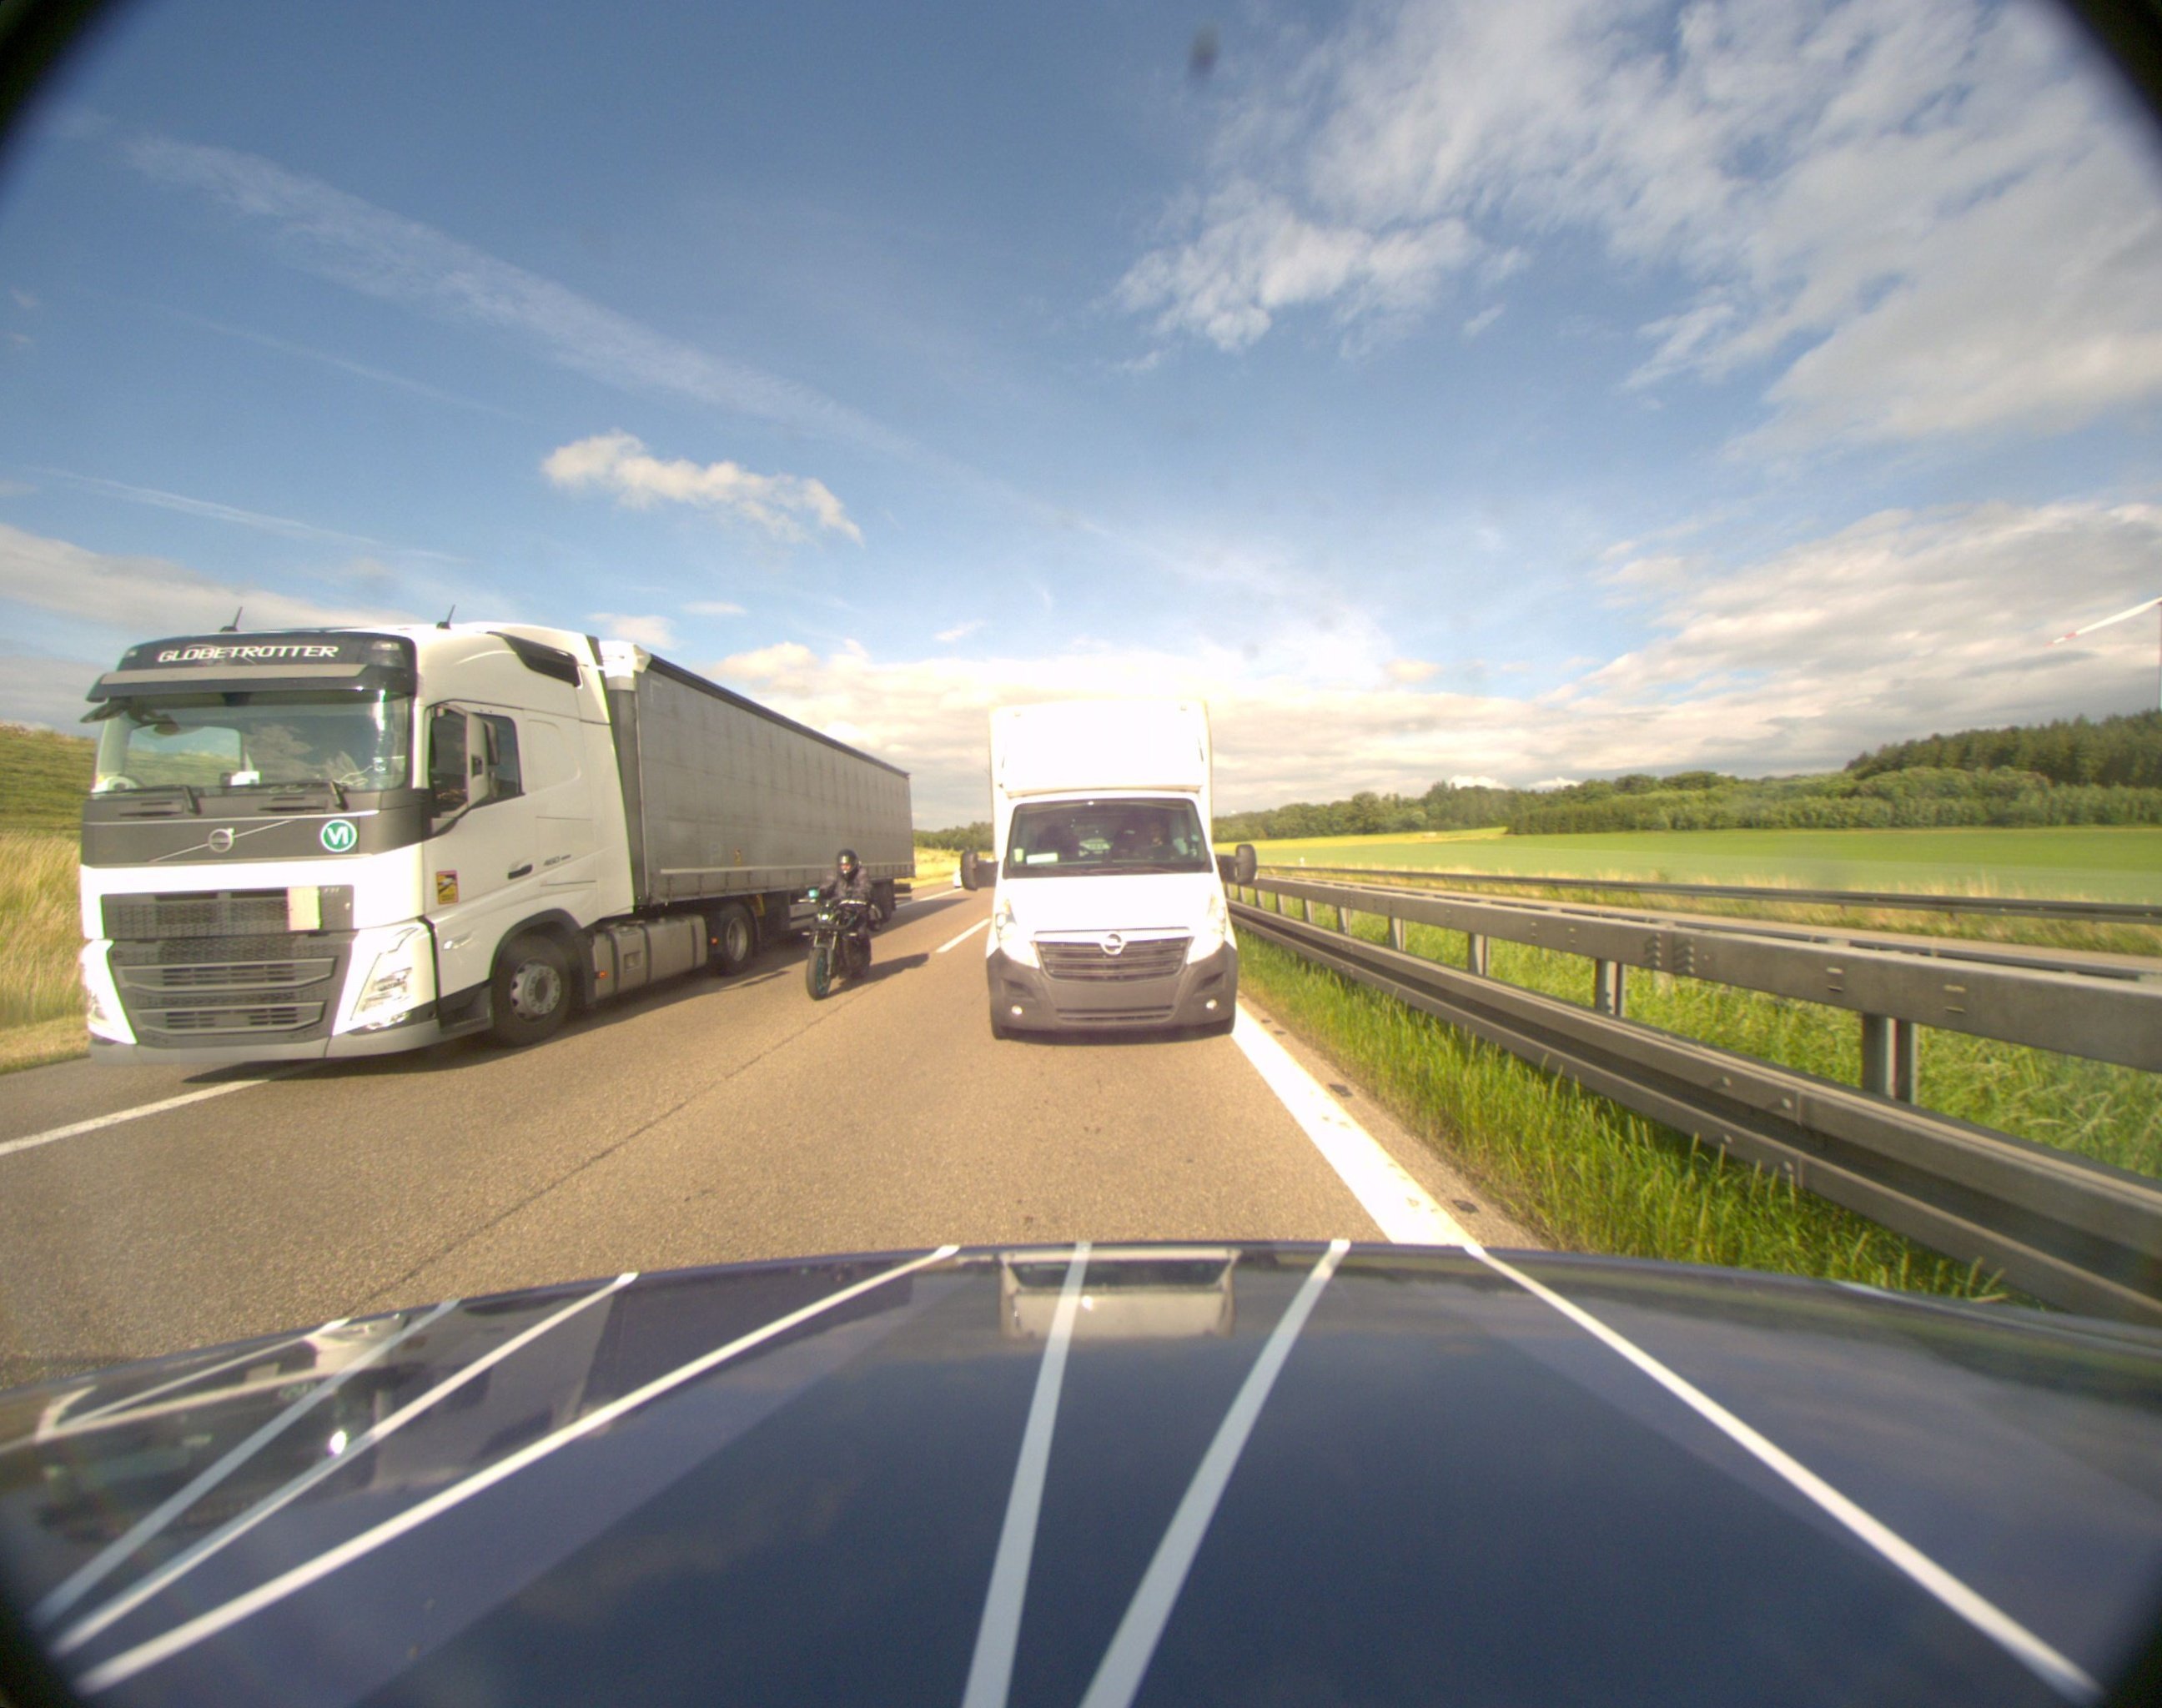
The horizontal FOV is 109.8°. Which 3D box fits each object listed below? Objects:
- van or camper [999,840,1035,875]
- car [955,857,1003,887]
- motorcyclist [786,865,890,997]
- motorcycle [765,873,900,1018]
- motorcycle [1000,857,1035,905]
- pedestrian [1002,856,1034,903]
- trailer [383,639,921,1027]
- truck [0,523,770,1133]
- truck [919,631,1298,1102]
[{"bbox_3d":[-4.881,0.245,59.017,2.102,2.530,6.412,-1,1,1],"label":"van or camper"},{"bbox_3d":[-5.388,0.934,40.662,1.871,1.409,4.461,-1,1,1],"label":"car"},{"bbox_3d":[-2.855,0.875,9.026,0.898,1.447,0.892,-1,1,0],"label":"motorcyclist"},{"bbox_3d":[-2.854,0.993,9.014,0.898,1.447,1.982,-1,1,0],"label":"motorcycle"},{"bbox_3d":[-2.028,0.837,24.602,0.898,1.447,2.269,-1,1,0],"label":"motorcycle"},{"bbox_3d":[-2.033,0.820,24.557,0.898,1.447,0.983,-1,1,0],"label":"pedestrian"},{"bbox_3d":[-5.998,-0.258,14.938,2.623,4.017,13.697,-3,0,0],"label":"trailer"},{"bbox_3d":[-6.007,-0.181,8.197,2.607,4.017,6.119,-3,1,0],"label":"truck"},{"bbox_3d":[0.178,0.097,10.745,2.502,3.141,11.162,-1,0,0],"label":"truck"}]
